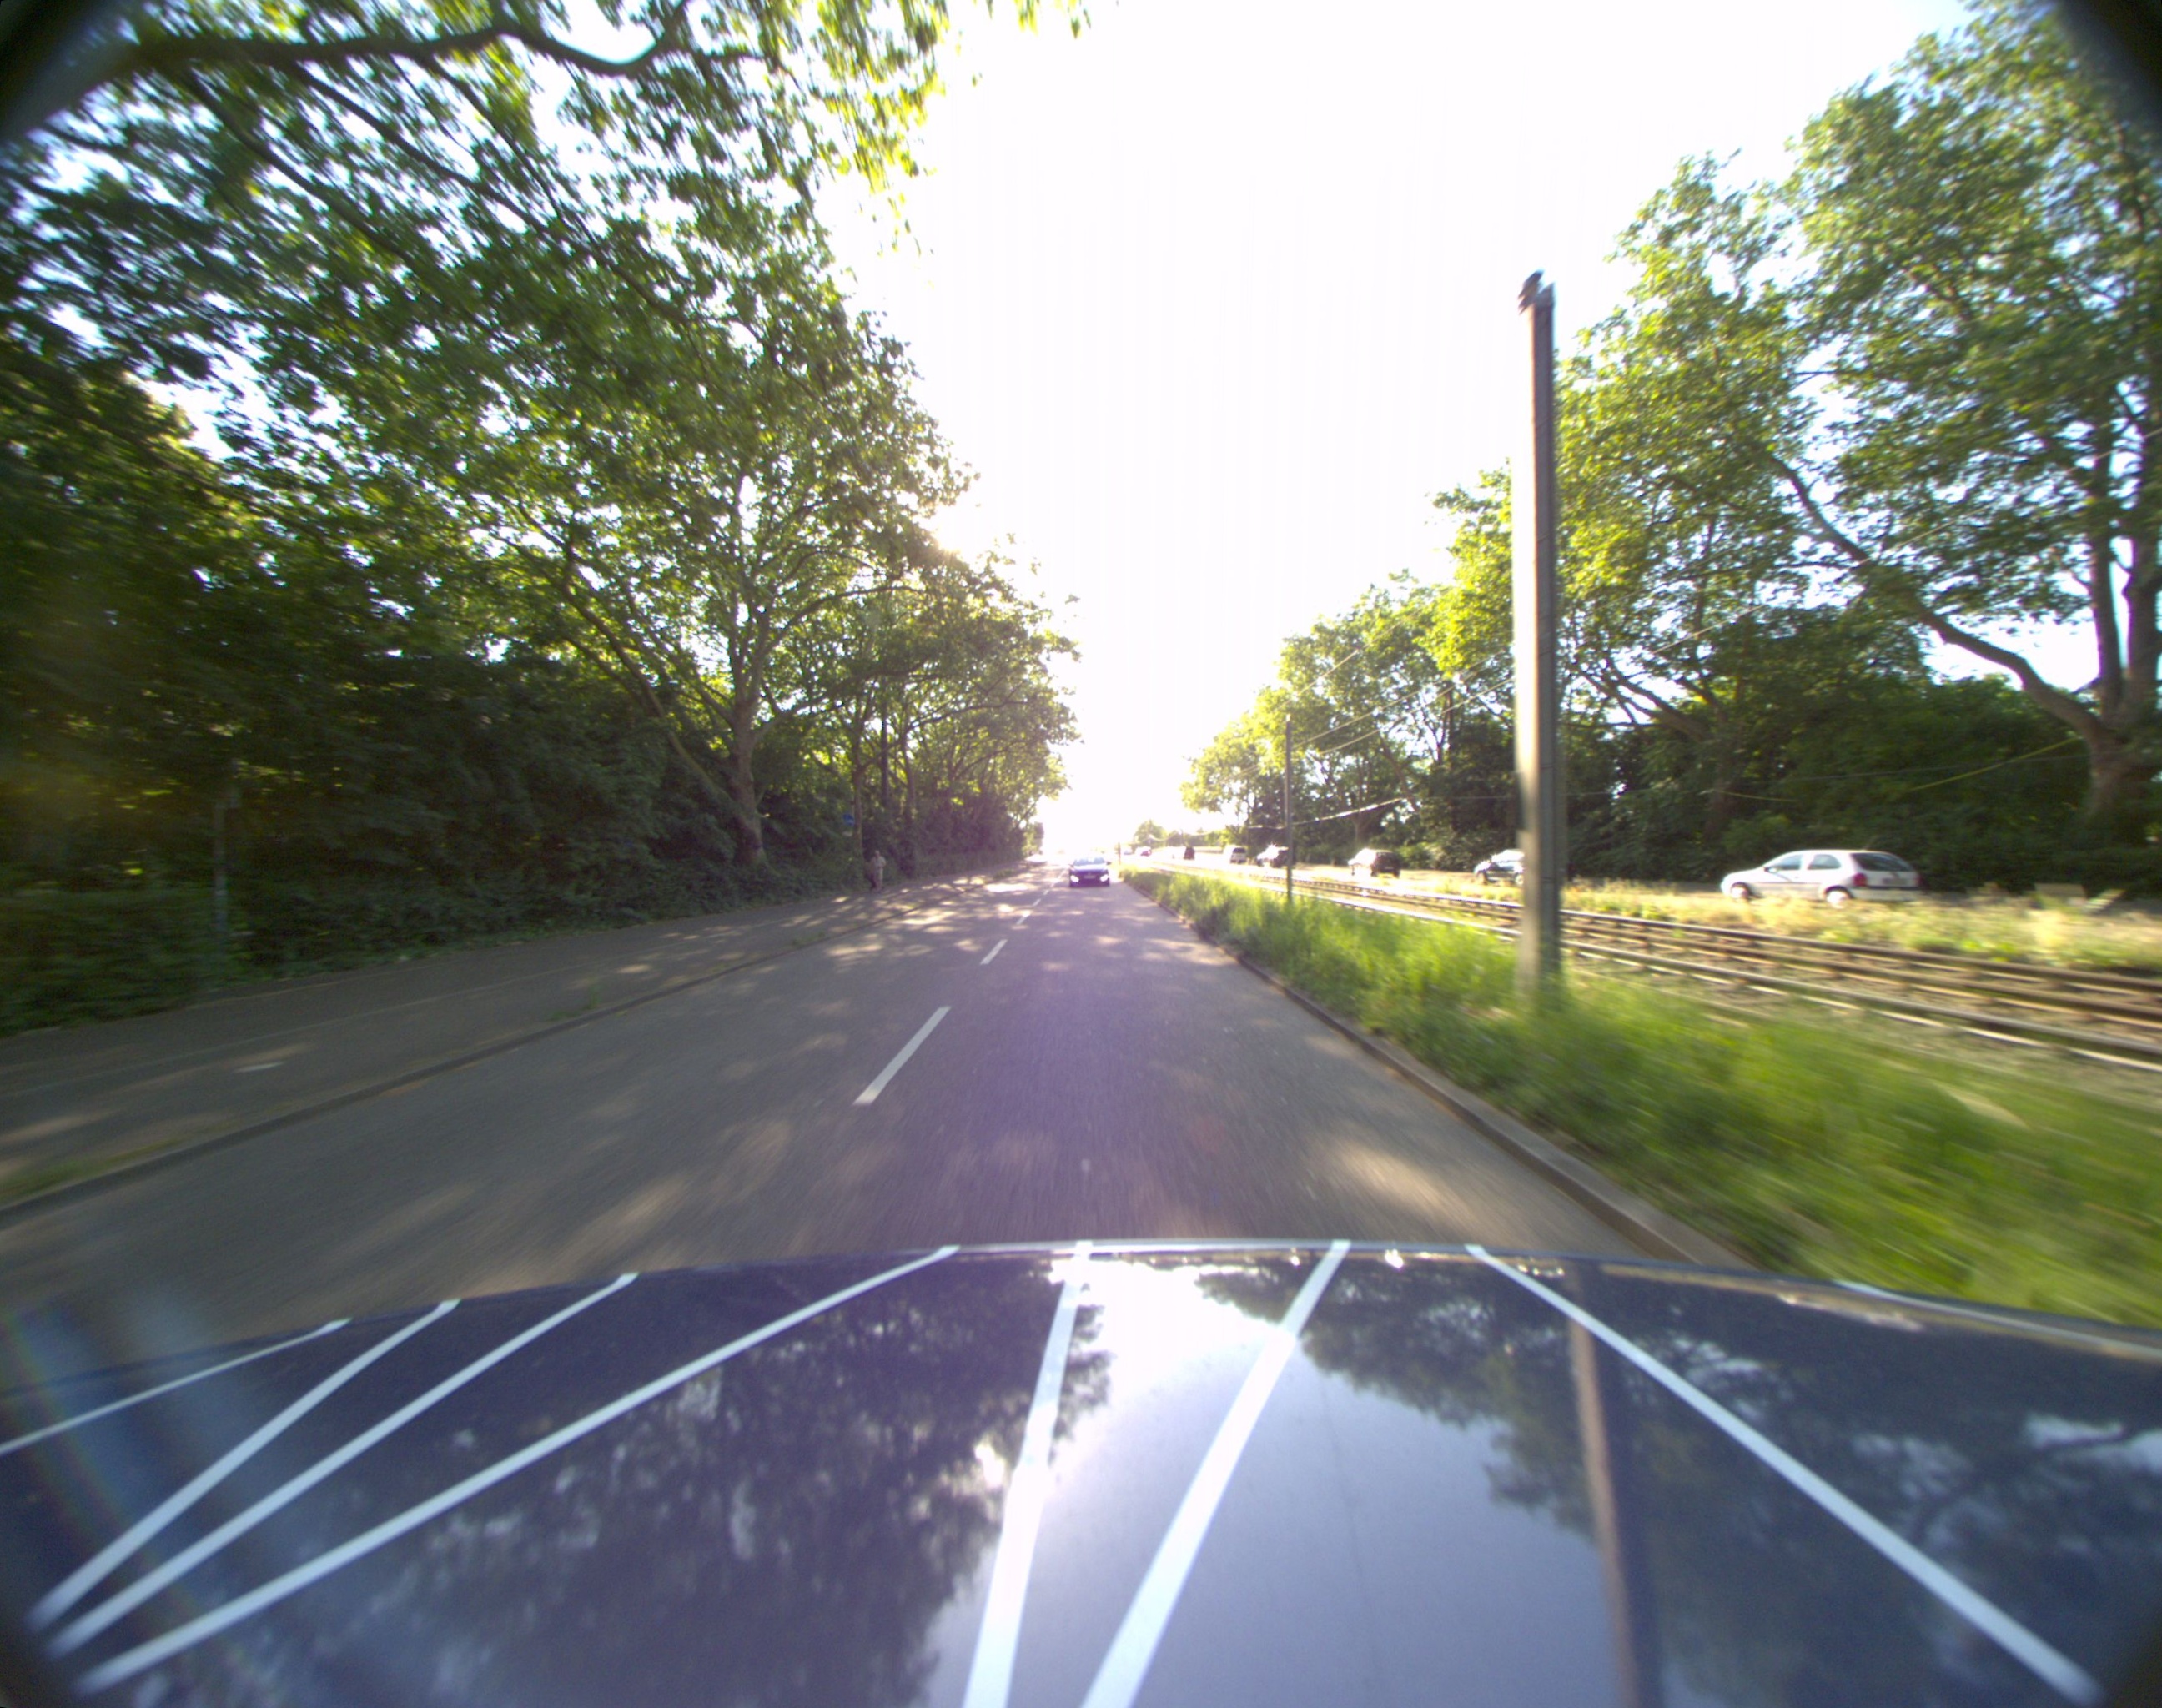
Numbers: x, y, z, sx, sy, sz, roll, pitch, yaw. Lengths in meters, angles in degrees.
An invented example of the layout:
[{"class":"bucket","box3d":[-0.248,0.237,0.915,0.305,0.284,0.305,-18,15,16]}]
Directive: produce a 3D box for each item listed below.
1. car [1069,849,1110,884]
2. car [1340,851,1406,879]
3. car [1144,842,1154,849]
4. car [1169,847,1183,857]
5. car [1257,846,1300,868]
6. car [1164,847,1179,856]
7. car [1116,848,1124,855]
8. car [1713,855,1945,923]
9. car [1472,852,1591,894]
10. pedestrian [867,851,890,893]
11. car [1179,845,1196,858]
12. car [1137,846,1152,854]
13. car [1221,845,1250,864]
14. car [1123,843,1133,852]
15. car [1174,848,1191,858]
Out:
[{"class":"car","box3d":[0.350,0.576,36.108,1.799,1.501,3.999,-3,0,-1]},{"class":"car","box3d":[16.420,0.585,42.913,1.832,1.497,4.392,0,1,-3]},{"class":"car","box3d":[14.231,-1.805,158.362,1.658,1.491,3.924,0,1,-1]},{"class":"car","box3d":[14.574,-0.276,116.711,1.658,1.434,3.784,0,1,-2]},{"class":"car","box3d":[15.932,0.228,61.582,1.833,1.709,4.391,0,1,-7]},{"class":"car","box3d":[14.492,-0.394,122.109,1.659,1.491,3.923,0,1,-3]},{"class":"car","box3d":[10.732,-0.806,209.010,1.988,1.841,4.961,0,1,-1]},{"class":"car","box3d":[17.979,0.781,18.561,1.744,1.428,3.850,0,1,-3]},{"class":"car","box3d":[17.281,0.677,29.411,1.832,1.428,4.322,0,1,-3]},{"class":"pedestrian","box3d":[-8.004,0.703,30.062,0.649,1.626,0.927,1,1,0]},{"class":"car","box3d":[14.788,-0.320,105.663,1.735,1.730,3.898,0,1,-3]},{"class":"car","box3d":[11.084,-0.758,132.819,1.925,1.407,4.748,1,1,-2]},{"class":"car","box3d":[15.751,-0.002,77.565,1.832,1.830,4.392,0,1,-3]},{"class":"car","box3d":[10.406,-1.406,167.402,1.832,1.841,5.035,0,1,-1]},{"class":"car","box3d":[14.843,-0.202,111.230,1.659,1.434,3.784,0,1,-3]}]
